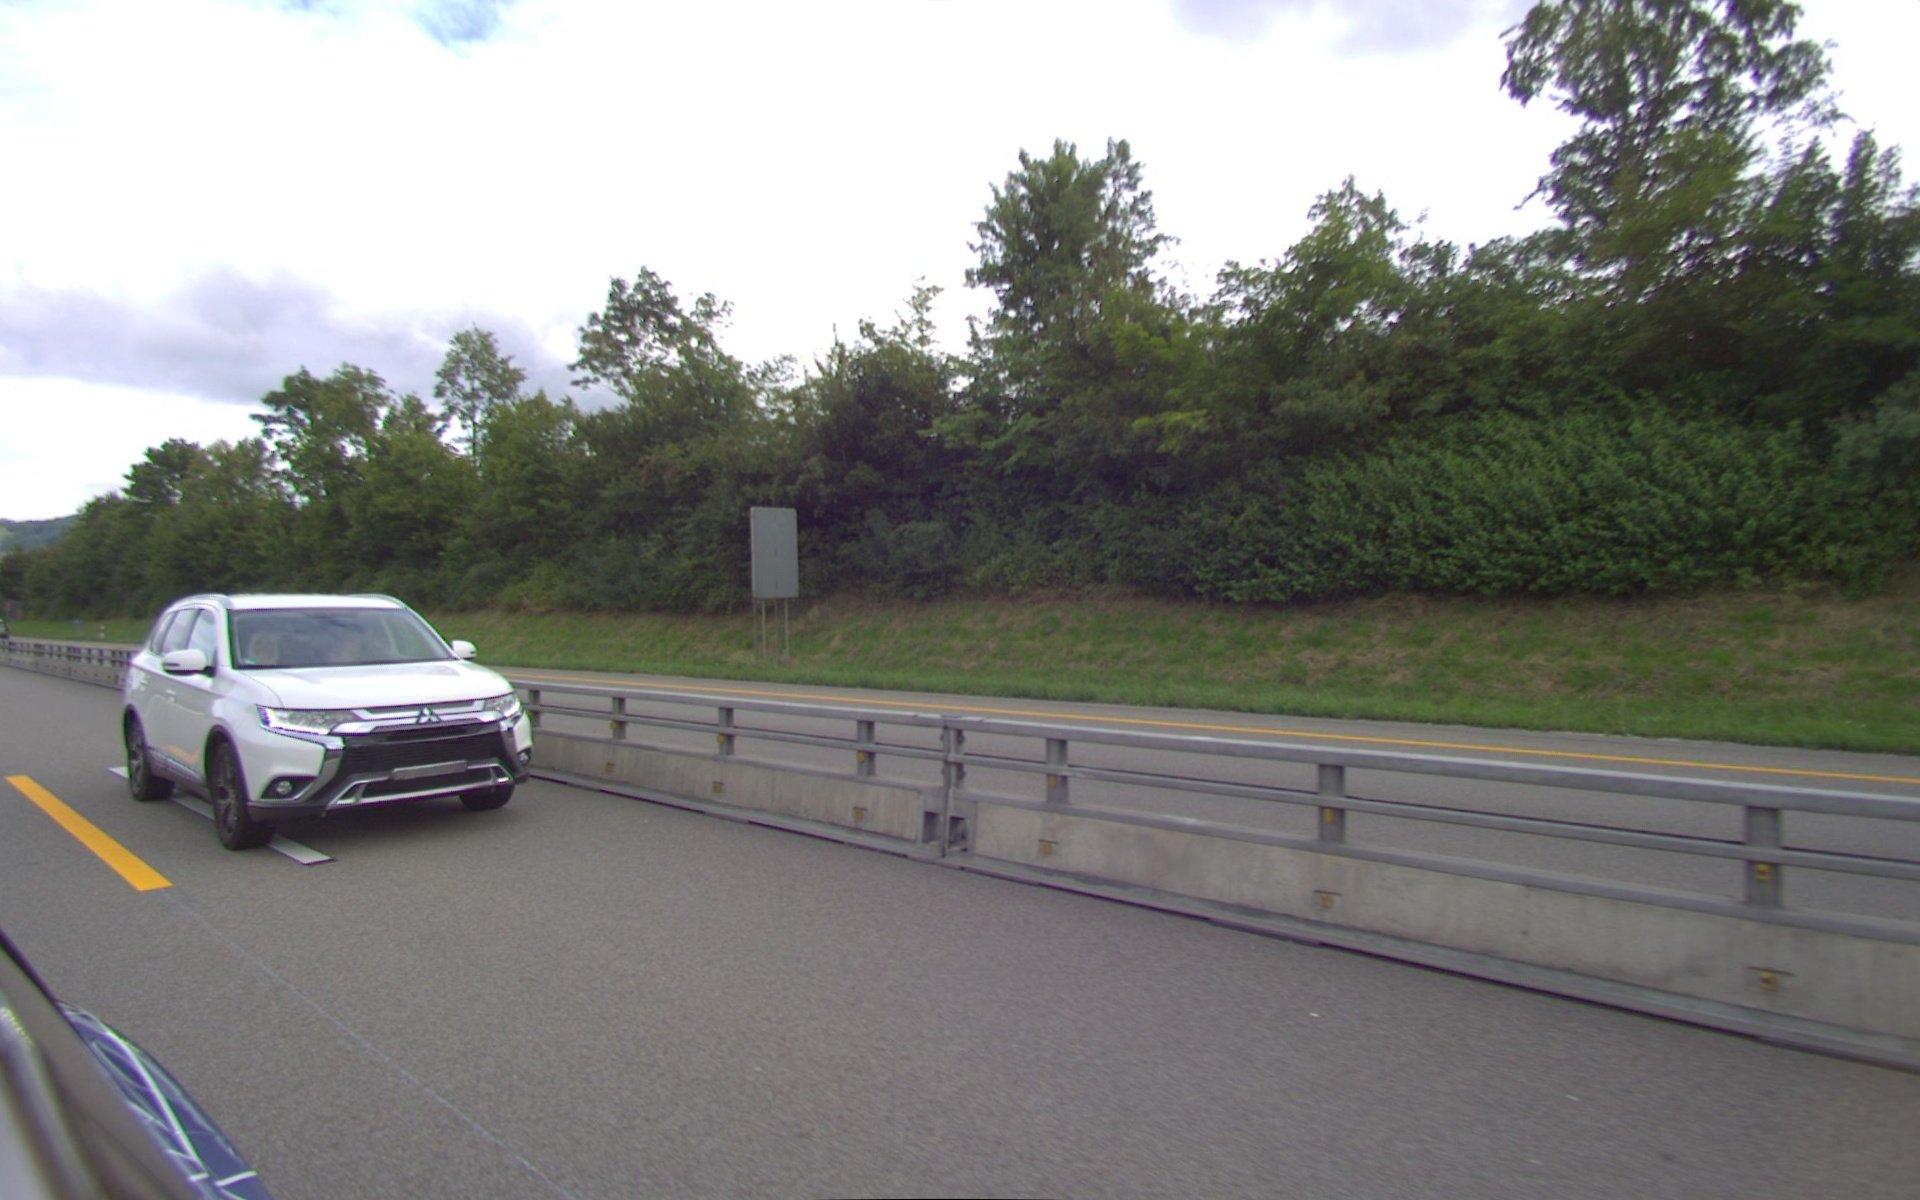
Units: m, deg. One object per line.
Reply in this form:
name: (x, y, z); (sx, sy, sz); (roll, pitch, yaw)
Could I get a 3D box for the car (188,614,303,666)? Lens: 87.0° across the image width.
car: (-23.296, 1.251, 32.914); (5.022, 1.535, 1.973); (-1, 0, 42)

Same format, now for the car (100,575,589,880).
car: (-4.901, 0.728, 7.741); (4.606, 1.640, 1.972); (-1, -1, 42)

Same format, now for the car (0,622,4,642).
car: (-76.506, 2.541, 79.497); (3.947, 1.562, 1.664); (-1, -2, 41)
